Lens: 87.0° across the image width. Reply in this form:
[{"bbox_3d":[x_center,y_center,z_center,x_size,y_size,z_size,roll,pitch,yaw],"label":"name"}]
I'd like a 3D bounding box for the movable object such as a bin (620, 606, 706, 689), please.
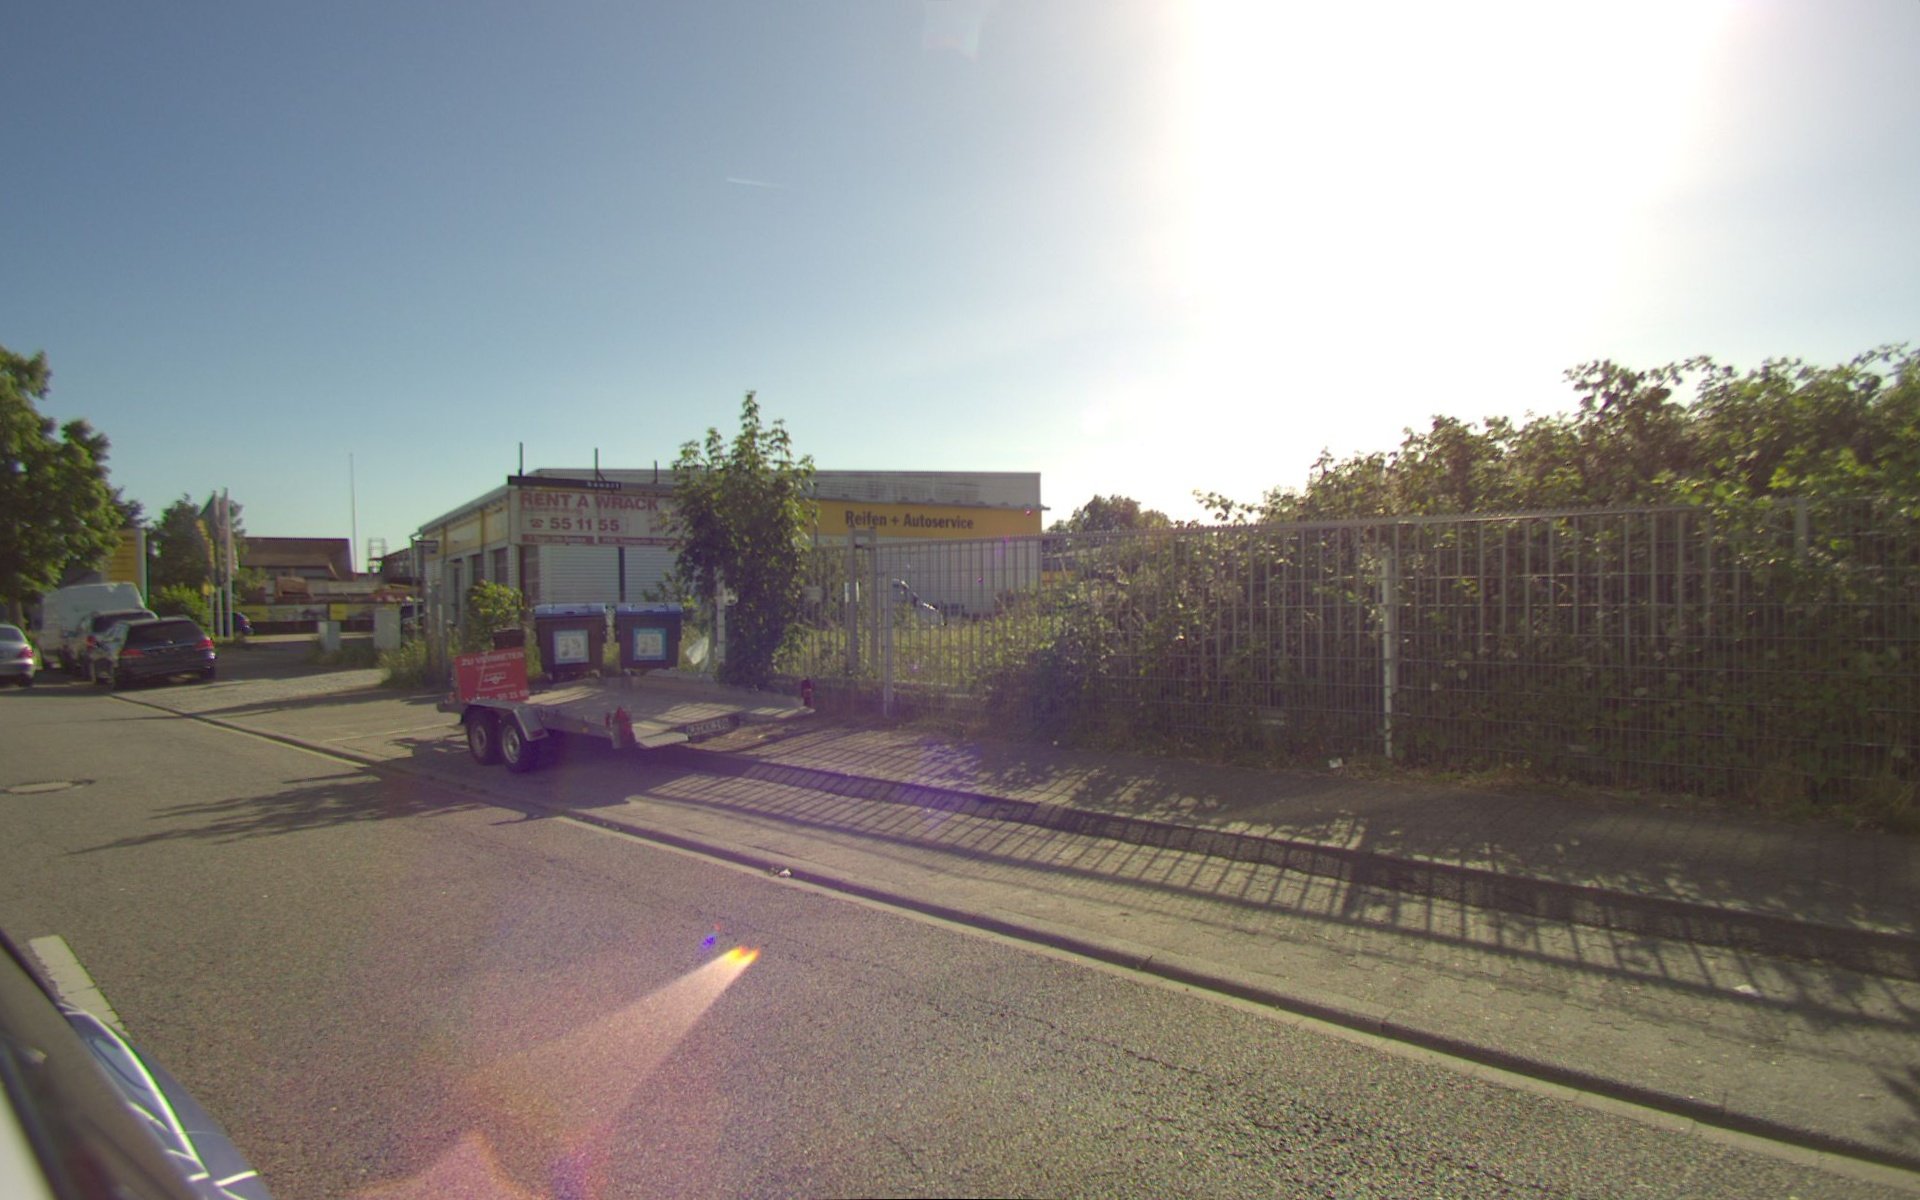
[{"bbox_3d":[-5.631,0.867,19.169,1.441,1.453,1.099,-2,1,-21],"label":"movable object such as a bin"}]

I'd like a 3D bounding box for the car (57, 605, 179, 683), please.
[{"bbox_3d":[-22.668,1.125,27.177,4.576,1.750,1.972,-1,4,45],"label":"car"}]

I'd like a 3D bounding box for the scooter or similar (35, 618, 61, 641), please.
[{"bbox_3d":[-52.093,1.690,57.804,1.569,1.280,0.479,-1,0,25],"label":"scooter or similar"}]

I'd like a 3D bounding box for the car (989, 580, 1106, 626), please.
[{"bbox_3d":[3.296,0.086,37.698,4.103,1.586,1.853,-2,0,-36],"label":"car"}]

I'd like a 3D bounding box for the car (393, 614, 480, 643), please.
[{"bbox_3d":[-31.401,1.668,60.719,4.385,1.519,2.005,-2,0,-36],"label":"car"}]

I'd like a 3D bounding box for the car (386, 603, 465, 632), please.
[{"bbox_3d":[-34.437,1.107,65.268,4.262,1.667,2.005,-2,0,-36],"label":"car"}]

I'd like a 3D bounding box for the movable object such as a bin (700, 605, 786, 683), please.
[{"bbox_3d":[-4.227,0.824,19.643,1.441,1.415,1.099,-2,1,-21],"label":"movable object such as a bin"}]

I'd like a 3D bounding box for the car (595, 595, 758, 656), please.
[{"bbox_3d":[-8.150,0.684,29.293,4.105,1.586,1.920,-2,0,-39],"label":"car"}]

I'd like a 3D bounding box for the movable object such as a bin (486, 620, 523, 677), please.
[{"bbox_3d":[-8.386,0.887,18.643,0.606,0.979,0.752,-1,1,-24],"label":"movable object such as a bin"}]

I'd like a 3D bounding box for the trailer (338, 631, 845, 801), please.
[{"bbox_3d":[-4.246,1.025,10.885,6.242,1.088,2.352,-2,3,41],"label":"trailer"}]

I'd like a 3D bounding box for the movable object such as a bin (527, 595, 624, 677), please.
[{"bbox_3d":[-7.166,0.640,18.895,1.596,1.415,1.099,-2,1,-21],"label":"movable object such as a bin"}]

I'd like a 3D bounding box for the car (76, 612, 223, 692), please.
[{"bbox_3d":[-18.880,1.139,23.487,5.001,1.521,1.781,-1,4,42],"label":"car"}]

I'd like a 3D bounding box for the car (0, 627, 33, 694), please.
[{"bbox_3d":[-22.855,1.374,23.344,4.359,1.458,1.728,-1,-1,42],"label":"car"}]

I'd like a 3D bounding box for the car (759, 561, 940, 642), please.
[{"bbox_3d":[-3.555,0.005,32.906,5.365,2.424,2.212,-1,0,-32],"label":"car"}]

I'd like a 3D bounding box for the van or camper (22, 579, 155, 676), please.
[{"bbox_3d":[-26.748,0.805,30.951,6.401,2.567,2.050,-1,4,41],"label":"van or camper"}]
